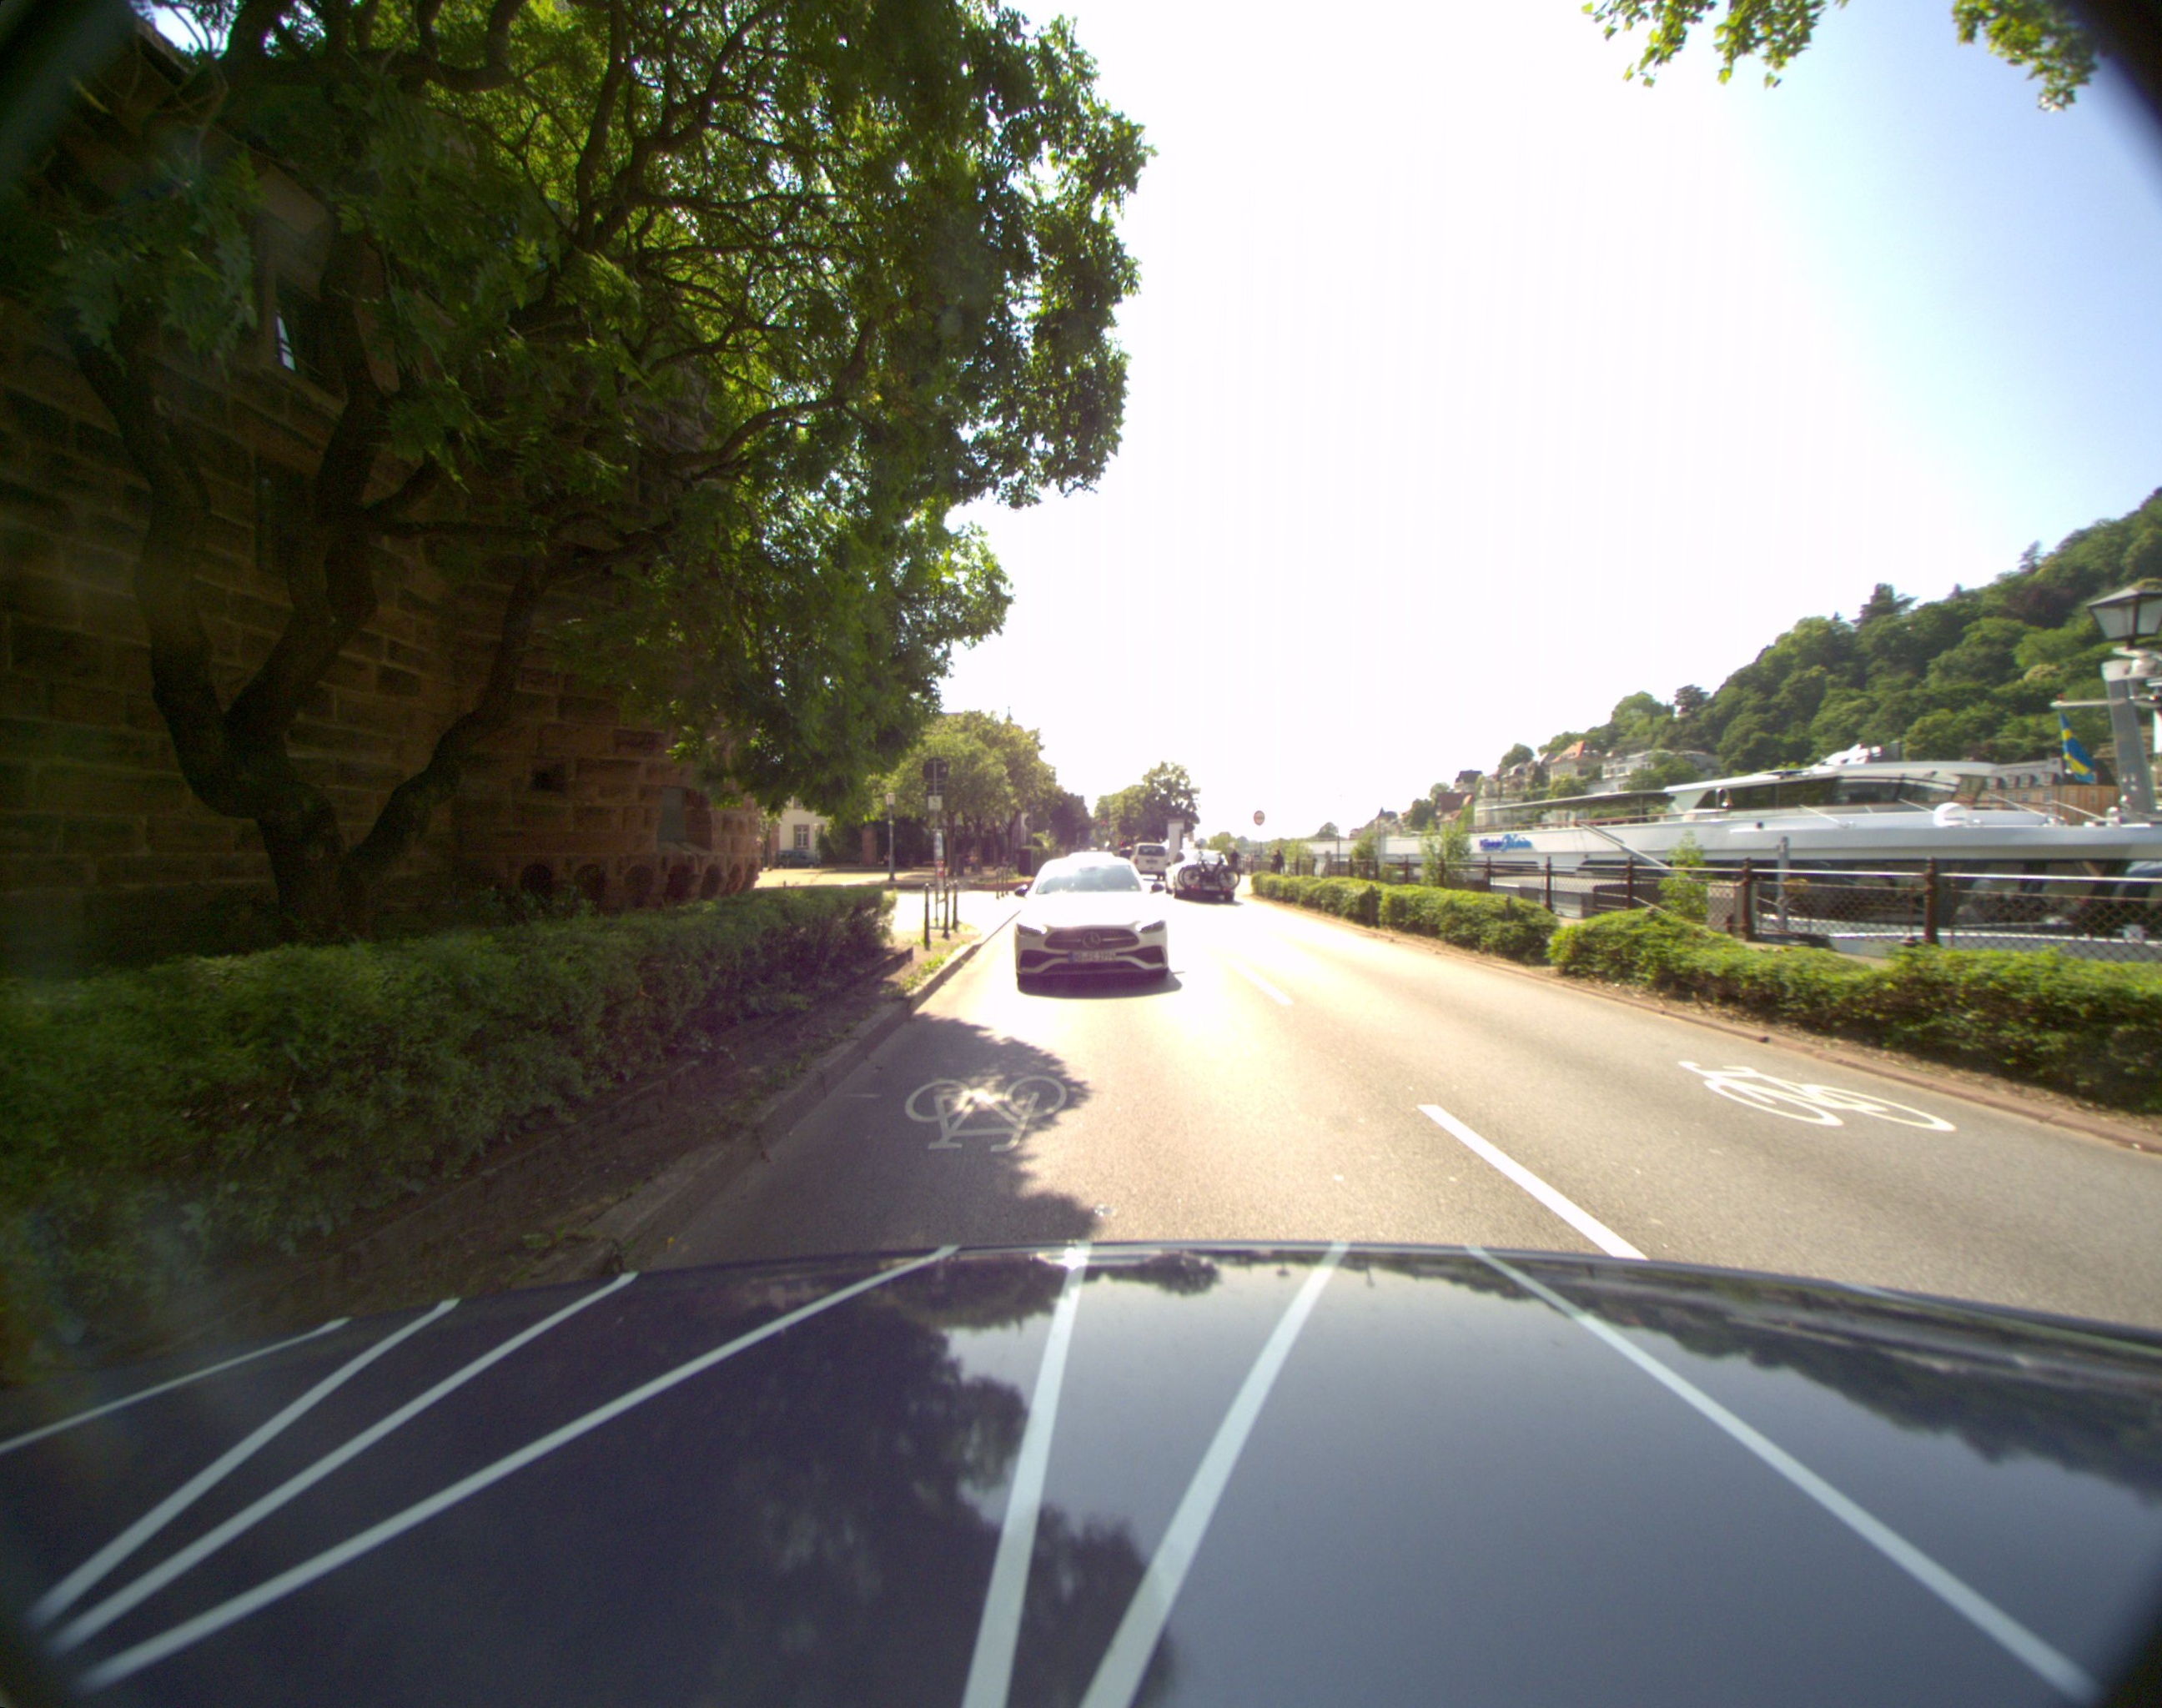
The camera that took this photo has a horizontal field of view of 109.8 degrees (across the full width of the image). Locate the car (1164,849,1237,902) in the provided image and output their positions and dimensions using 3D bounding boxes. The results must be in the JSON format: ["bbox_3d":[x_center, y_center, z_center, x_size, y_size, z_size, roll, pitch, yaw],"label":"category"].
[{"bbox_3d":[3.913,0.648,25.487,1.826,1.603,3.959,1,0,1],"label":"car"}]

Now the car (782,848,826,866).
[{"bbox_3d":[-24.477,0.254,67.298,3.237,1.572,1.752,1,1,-2],"label":"car"}]

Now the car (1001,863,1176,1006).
[{"bbox_3d":[0.091,0.884,10.295,1.829,1.418,4.358,-1,0,0],"label":"car"}]

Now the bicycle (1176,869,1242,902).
[{"bbox_3d":[3.867,0.943,23.081,1.873,0.921,0.955,1,1,2],"label":"bicycle"}]

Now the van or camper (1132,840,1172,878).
[{"bbox_3d":[3.889,0.253,42.214,1.922,1.975,4.000,1,0,1],"label":"van or camper"}]

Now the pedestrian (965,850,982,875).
[{"bbox_3d":[-5.181,0.402,36.727,0.632,1.186,0.747,-2,1,2],"label":"pedestrian"}]

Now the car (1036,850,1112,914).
[{"bbox_3d":[-0.148,0.688,20.831,1.854,1.543,3.848,1,1,1],"label":"car"}]

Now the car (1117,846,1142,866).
[{"bbox_3d":[4.069,0.140,63.951,1.826,1.604,3.959,1,0,1],"label":"car"}]
